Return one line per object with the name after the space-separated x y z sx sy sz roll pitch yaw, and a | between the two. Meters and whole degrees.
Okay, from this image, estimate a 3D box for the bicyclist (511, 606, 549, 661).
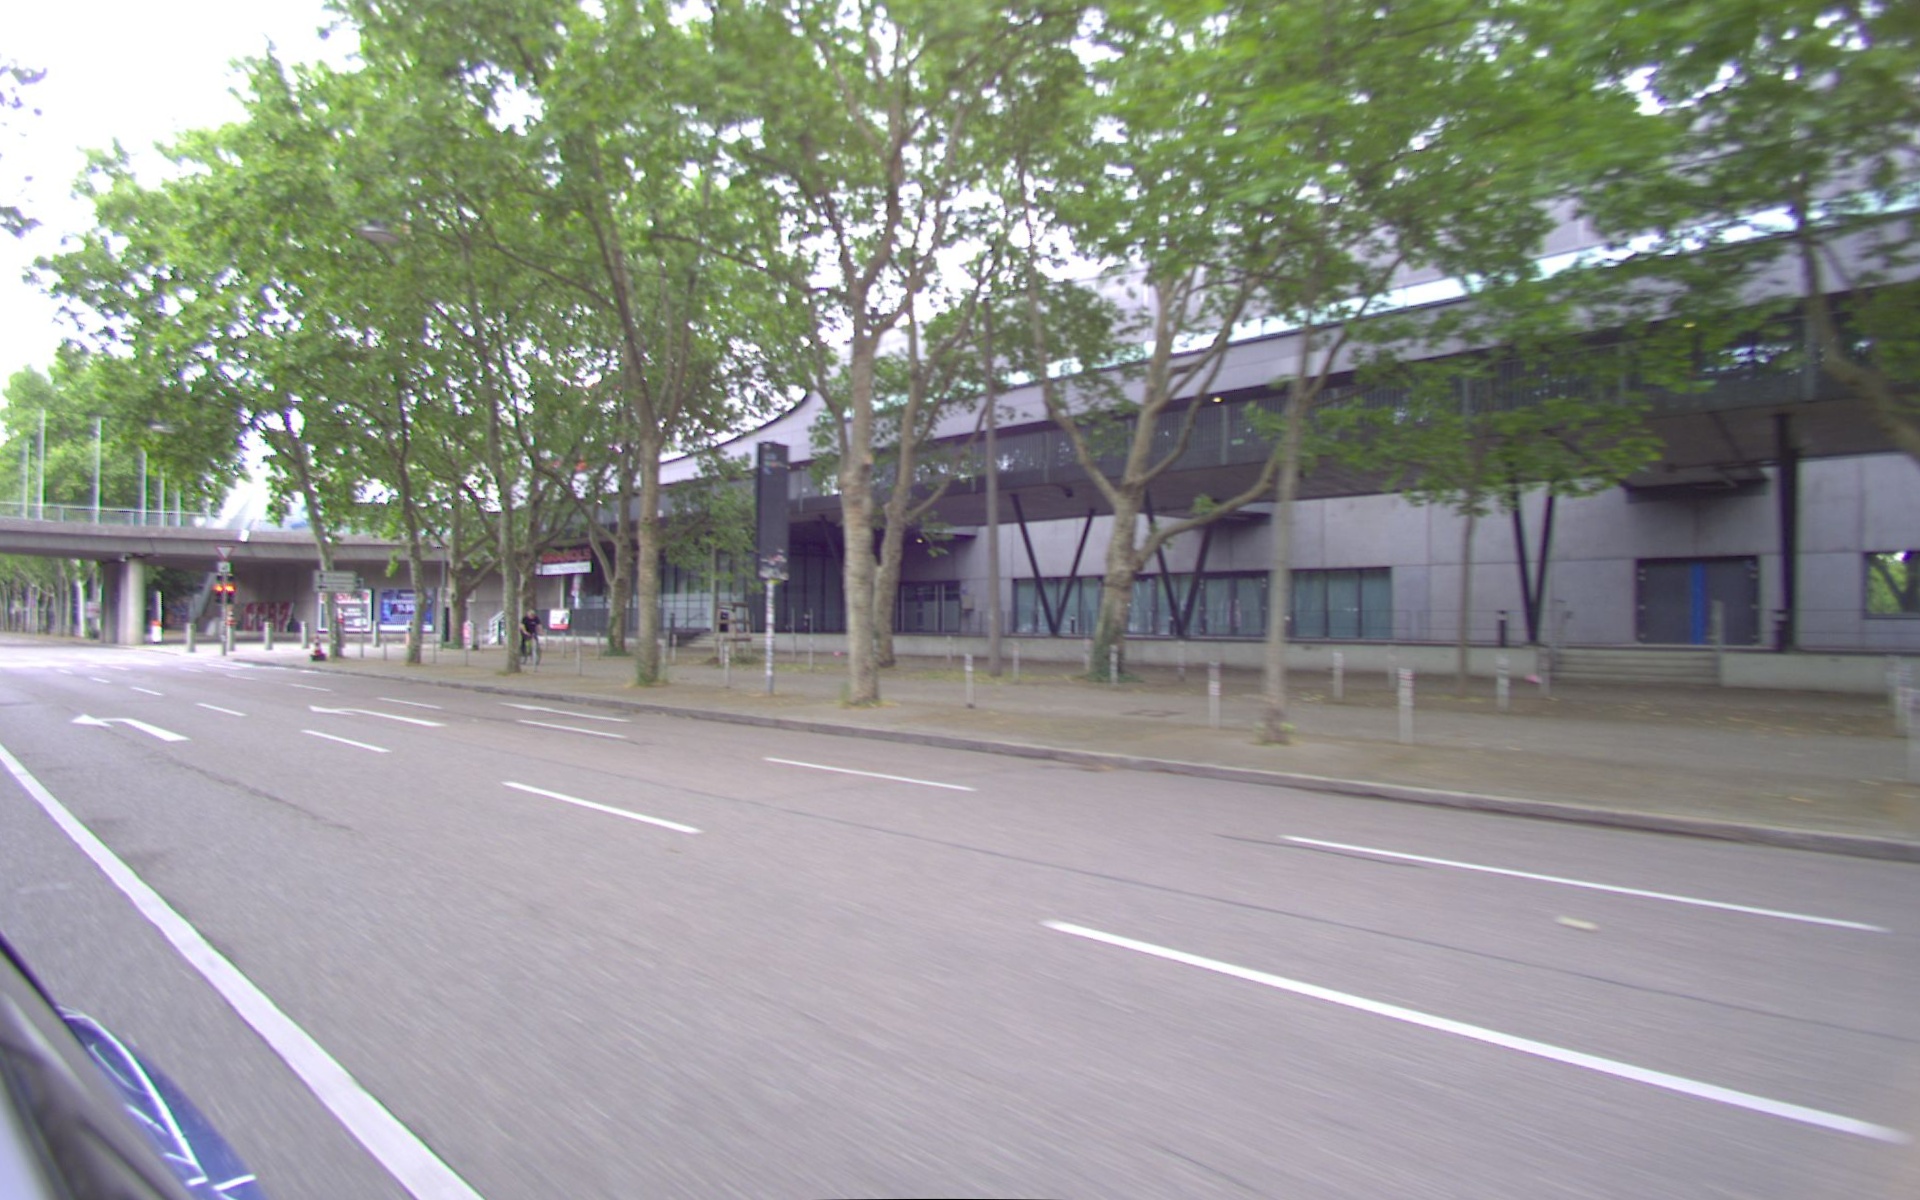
-13.674 1.065 32.196 0.854 1.710 0.756 1 -2 40 | bicyclist

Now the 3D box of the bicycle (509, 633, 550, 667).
-13.692 1.578 32.178 1.537 1.020 0.510 1 -2 40 | bicycle
